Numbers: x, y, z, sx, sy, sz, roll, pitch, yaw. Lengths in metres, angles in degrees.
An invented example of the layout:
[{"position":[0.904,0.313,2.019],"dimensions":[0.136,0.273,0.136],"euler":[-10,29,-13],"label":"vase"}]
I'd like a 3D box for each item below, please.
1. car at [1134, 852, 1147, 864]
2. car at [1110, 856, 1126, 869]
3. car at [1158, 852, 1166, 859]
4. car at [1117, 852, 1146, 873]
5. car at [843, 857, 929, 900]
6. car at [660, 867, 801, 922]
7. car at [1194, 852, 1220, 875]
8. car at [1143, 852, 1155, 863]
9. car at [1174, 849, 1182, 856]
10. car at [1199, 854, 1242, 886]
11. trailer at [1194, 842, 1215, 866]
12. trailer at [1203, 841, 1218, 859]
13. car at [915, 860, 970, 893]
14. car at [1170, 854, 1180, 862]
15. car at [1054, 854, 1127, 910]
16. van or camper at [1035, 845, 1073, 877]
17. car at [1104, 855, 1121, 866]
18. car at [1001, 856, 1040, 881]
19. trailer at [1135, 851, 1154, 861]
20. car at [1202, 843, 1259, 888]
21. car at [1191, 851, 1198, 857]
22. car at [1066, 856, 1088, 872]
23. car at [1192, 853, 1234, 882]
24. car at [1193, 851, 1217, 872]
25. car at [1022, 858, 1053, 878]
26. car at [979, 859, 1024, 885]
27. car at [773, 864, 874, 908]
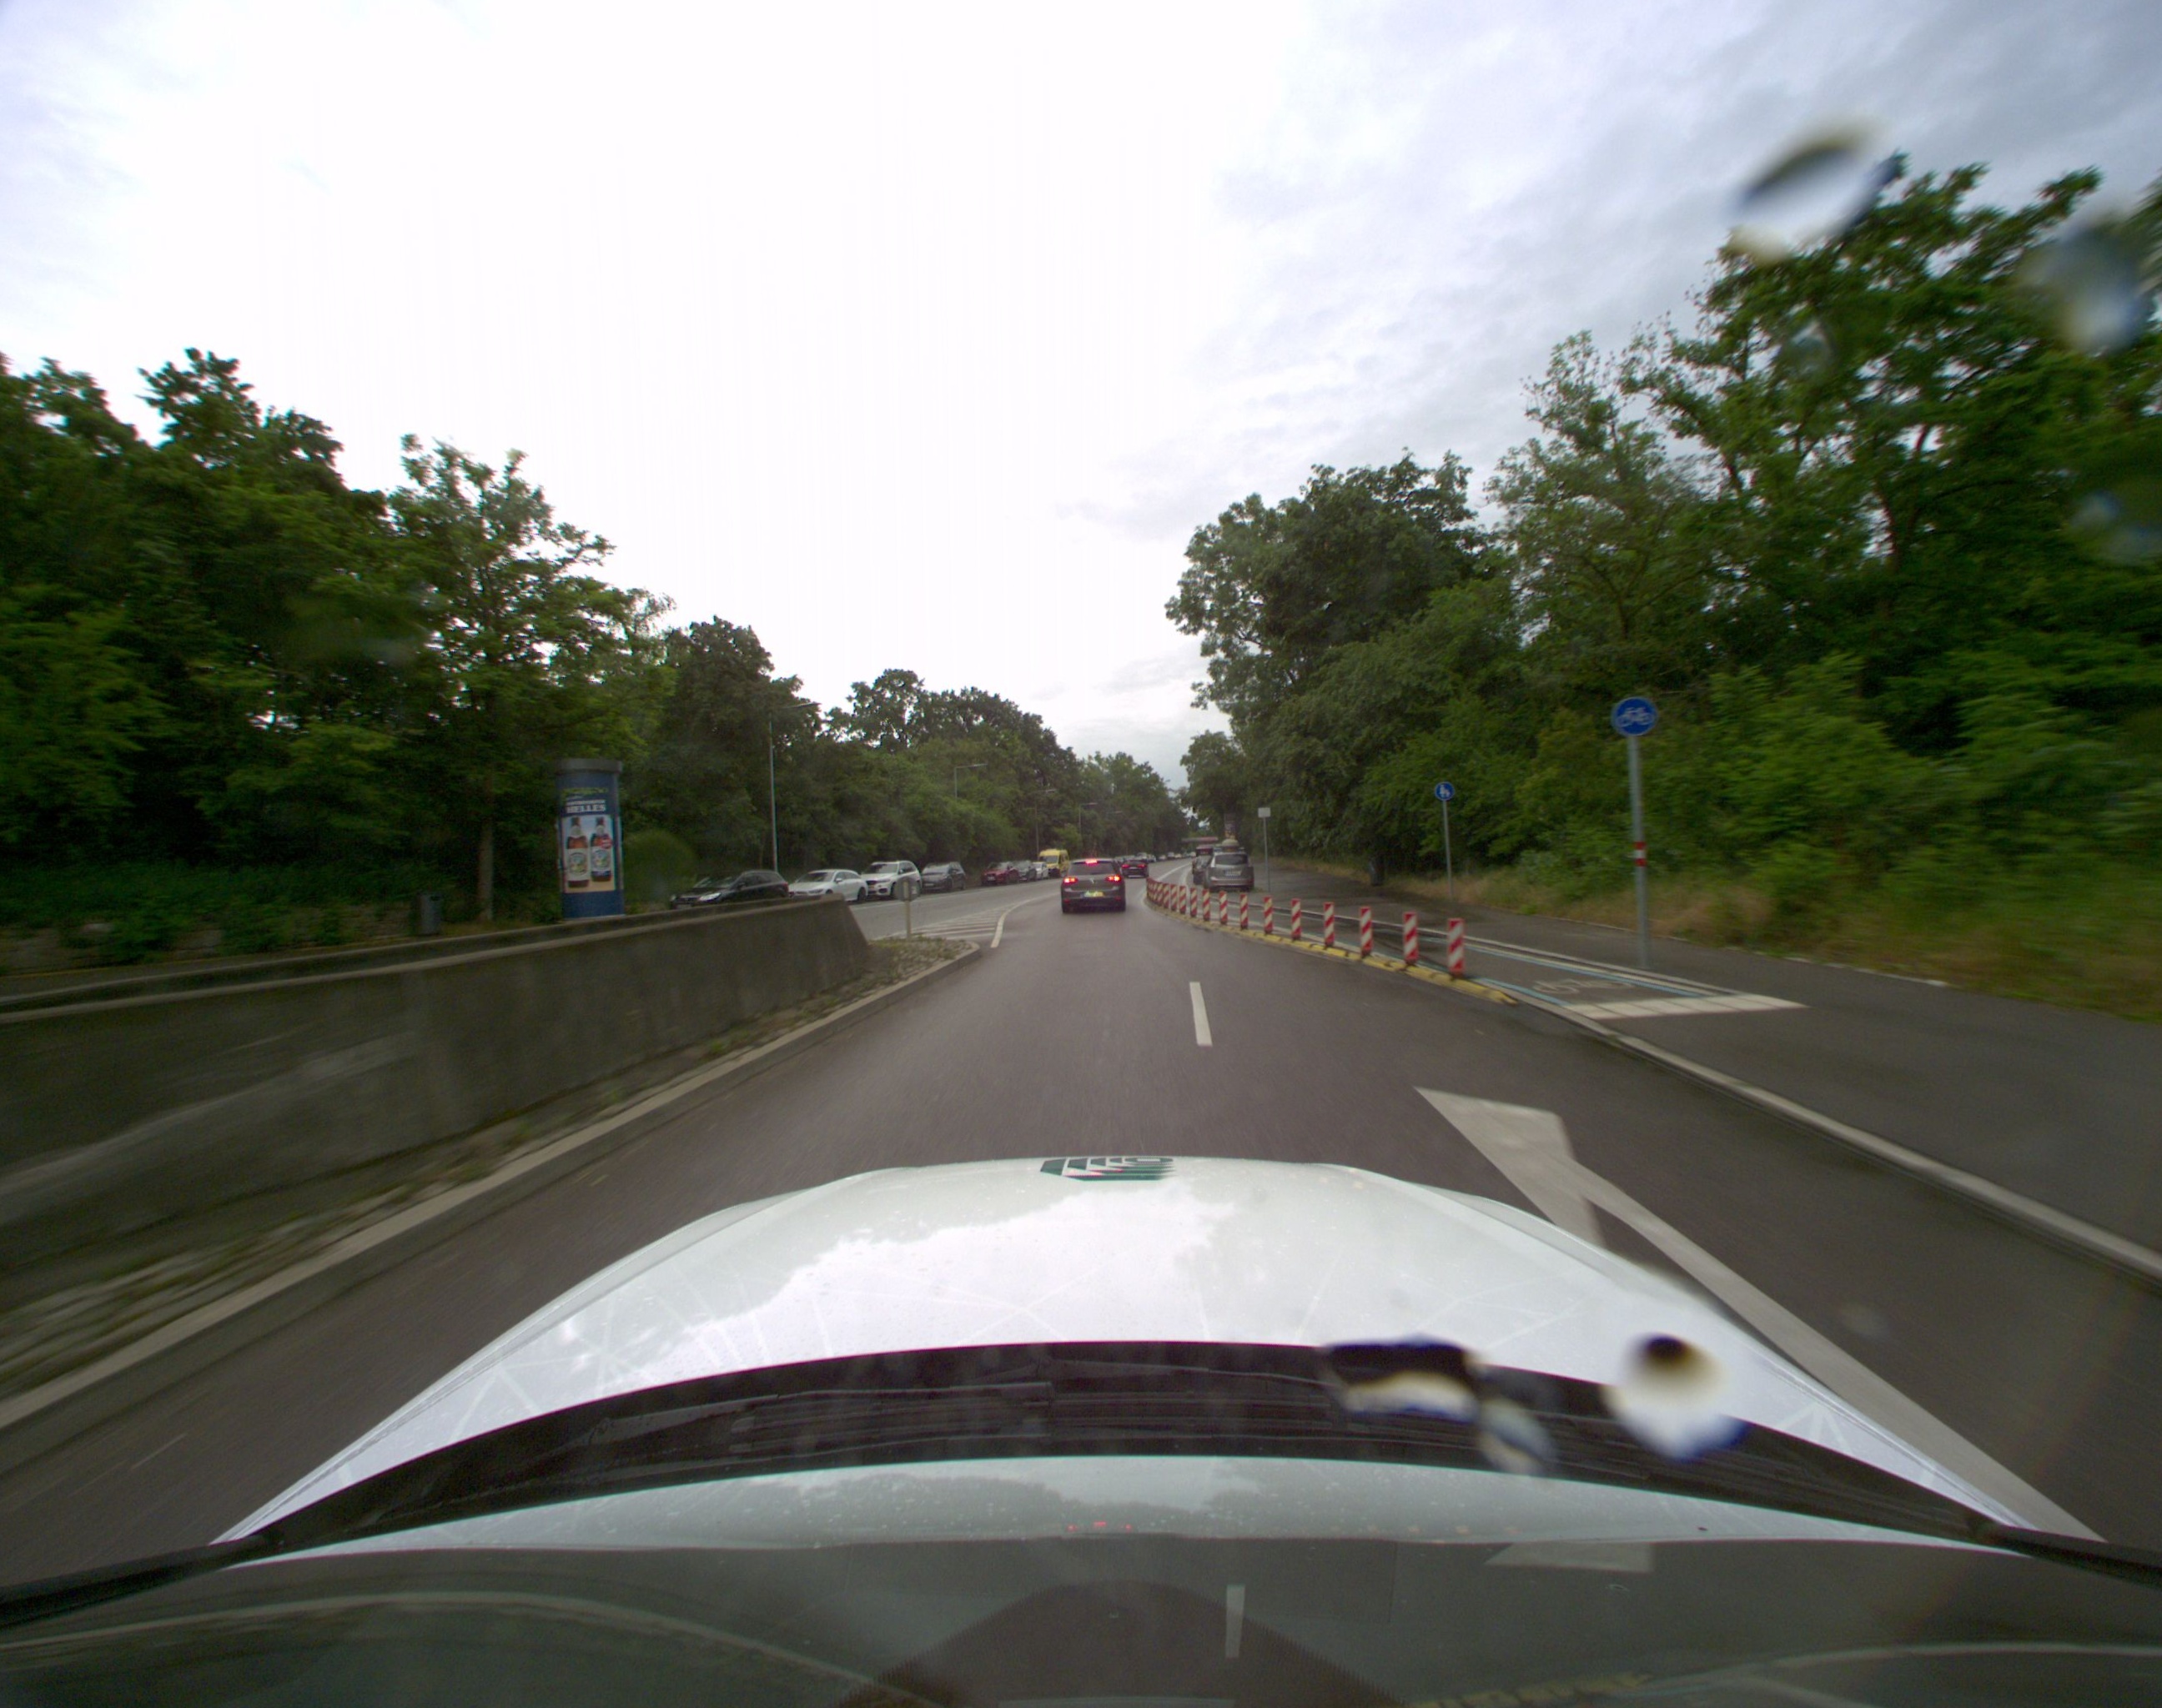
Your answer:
[{"position":[10.799,0.717,146.965],"dimensions":[1.929,2.013,4.750],"euler":[-3,0,7],"label":"car"},{"position":[5.090,1.139,111.122],"dimensions":[1.686,1.584,4.150],"euler":[-3,0,10],"label":"car"},{"position":[19.034,0.350,191.364],"dimensions":[1.662,1.513,3.640],"euler":[-2,0,9],"label":"car"},{"position":[3.770,0.589,59.793],"dimensions":[1.871,1.466,4.008],"euler":[-1,0,7],"label":"car"},{"position":[-8.842,1.081,37.417],"dimensions":[1.982,1.765,4.973],"euler":[-2,0,9],"label":"car"},{"position":[-11.025,1.222,26.016],"dimensions":[1.737,1.445,4.602],"euler":[-2,0,12],"label":"car"},{"position":[8.535,0.599,55.328],"dimensions":[1.551,1.460,3.683],"euler":[-2,0,7],"label":"car"},{"position":[13.174,0.583,157.362],"dimensions":[1.929,2.013,4.750],"euler":[-3,0,7],"label":"car"},{"position":[28.614,-0.427,240.082],"dimensions":[2.145,2.013,5.046],"euler":[-3,0,11],"label":"car"},{"position":[6.393,0.715,37.597],"dimensions":[1.688,1.413,3.709],"euler":[-1,0,5],"label":"car"},{"position":[12.293,-0.016,80.961],"dimensions":[1.894,2.247,4.780],"euler":[-2,0,9],"label":"trailer"},{"position":[20.186,-0.608,126.984],"dimensions":[2.120,2.560,4.307],"euler":[-3,0,8],"label":"trailer"},{"position":[-7.619,1.188,45.320],"dimensions":[1.722,1.649,4.580],"euler":[-2,0,7],"label":"car"},{"position":[24.936,0.962,215.769],"dimensions":[2.145,2.013,5.046],"euler":[-3,0,11],"label":"car"},{"position":[0.369,0.771,23.351],"dimensions":[1.863,1.441,4.300],"euler":[-1,-1,4],"label":"car"},{"position":[-2.383,0.586,73.477],"dimensions":[2.130,2.627,5.699],"euler":[-3,0,11],"label":"van or camper"},{"position":[4.159,0.886,106.267],"dimensions":[1.686,1.300,4.204],"euler":[-3,0,10],"label":"car"},{"position":[-4.568,1.107,62.270],"dimensions":[1.982,1.700,4.626],"euler":[-3,0,8],"label":"car"},{"position":[11.779,0.376,151.645],"dimensions":[1.610,1.628,3.696],"euler":[-3,0,41],"label":"trailer"},{"position":[5.913,0.449,32.561],"dimensions":[1.813,1.615,4.258],"euler":[-2,0,5],"label":"car"},{"position":[32.992,-0.022,237.626],"dimensions":[1.811,1.706,3.868],"euler":[-2,0,10],"label":"car"},{"position":[-0.355,0.993,84.157],"dimensions":[1.592,1.510,3.148],"euler":[-3,0,11],"label":"car"},{"position":[6.888,0.696,42.850],"dimensions":[1.844,1.399,4.392],"euler":[-1,0,5],"label":"car"},{"position":[9.150,0.513,60.009],"dimensions":[1.649,1.465,3.910],"euler":[0,0,9],"label":"car"},{"position":[-3.574,1.122,67.261],"dimensions":[1.607,1.448,3.667],"euler":[-4,0,10],"label":"car"},{"position":[-5.483,1.203,56.845],"dimensions":[1.907,1.617,4.503],"euler":[-3,0,10],"label":"car"},{"position":[-9.935,1.197,31.806],"dimensions":[1.708,1.460,4.721],"euler":[-3,0,10],"label":"car"}]
